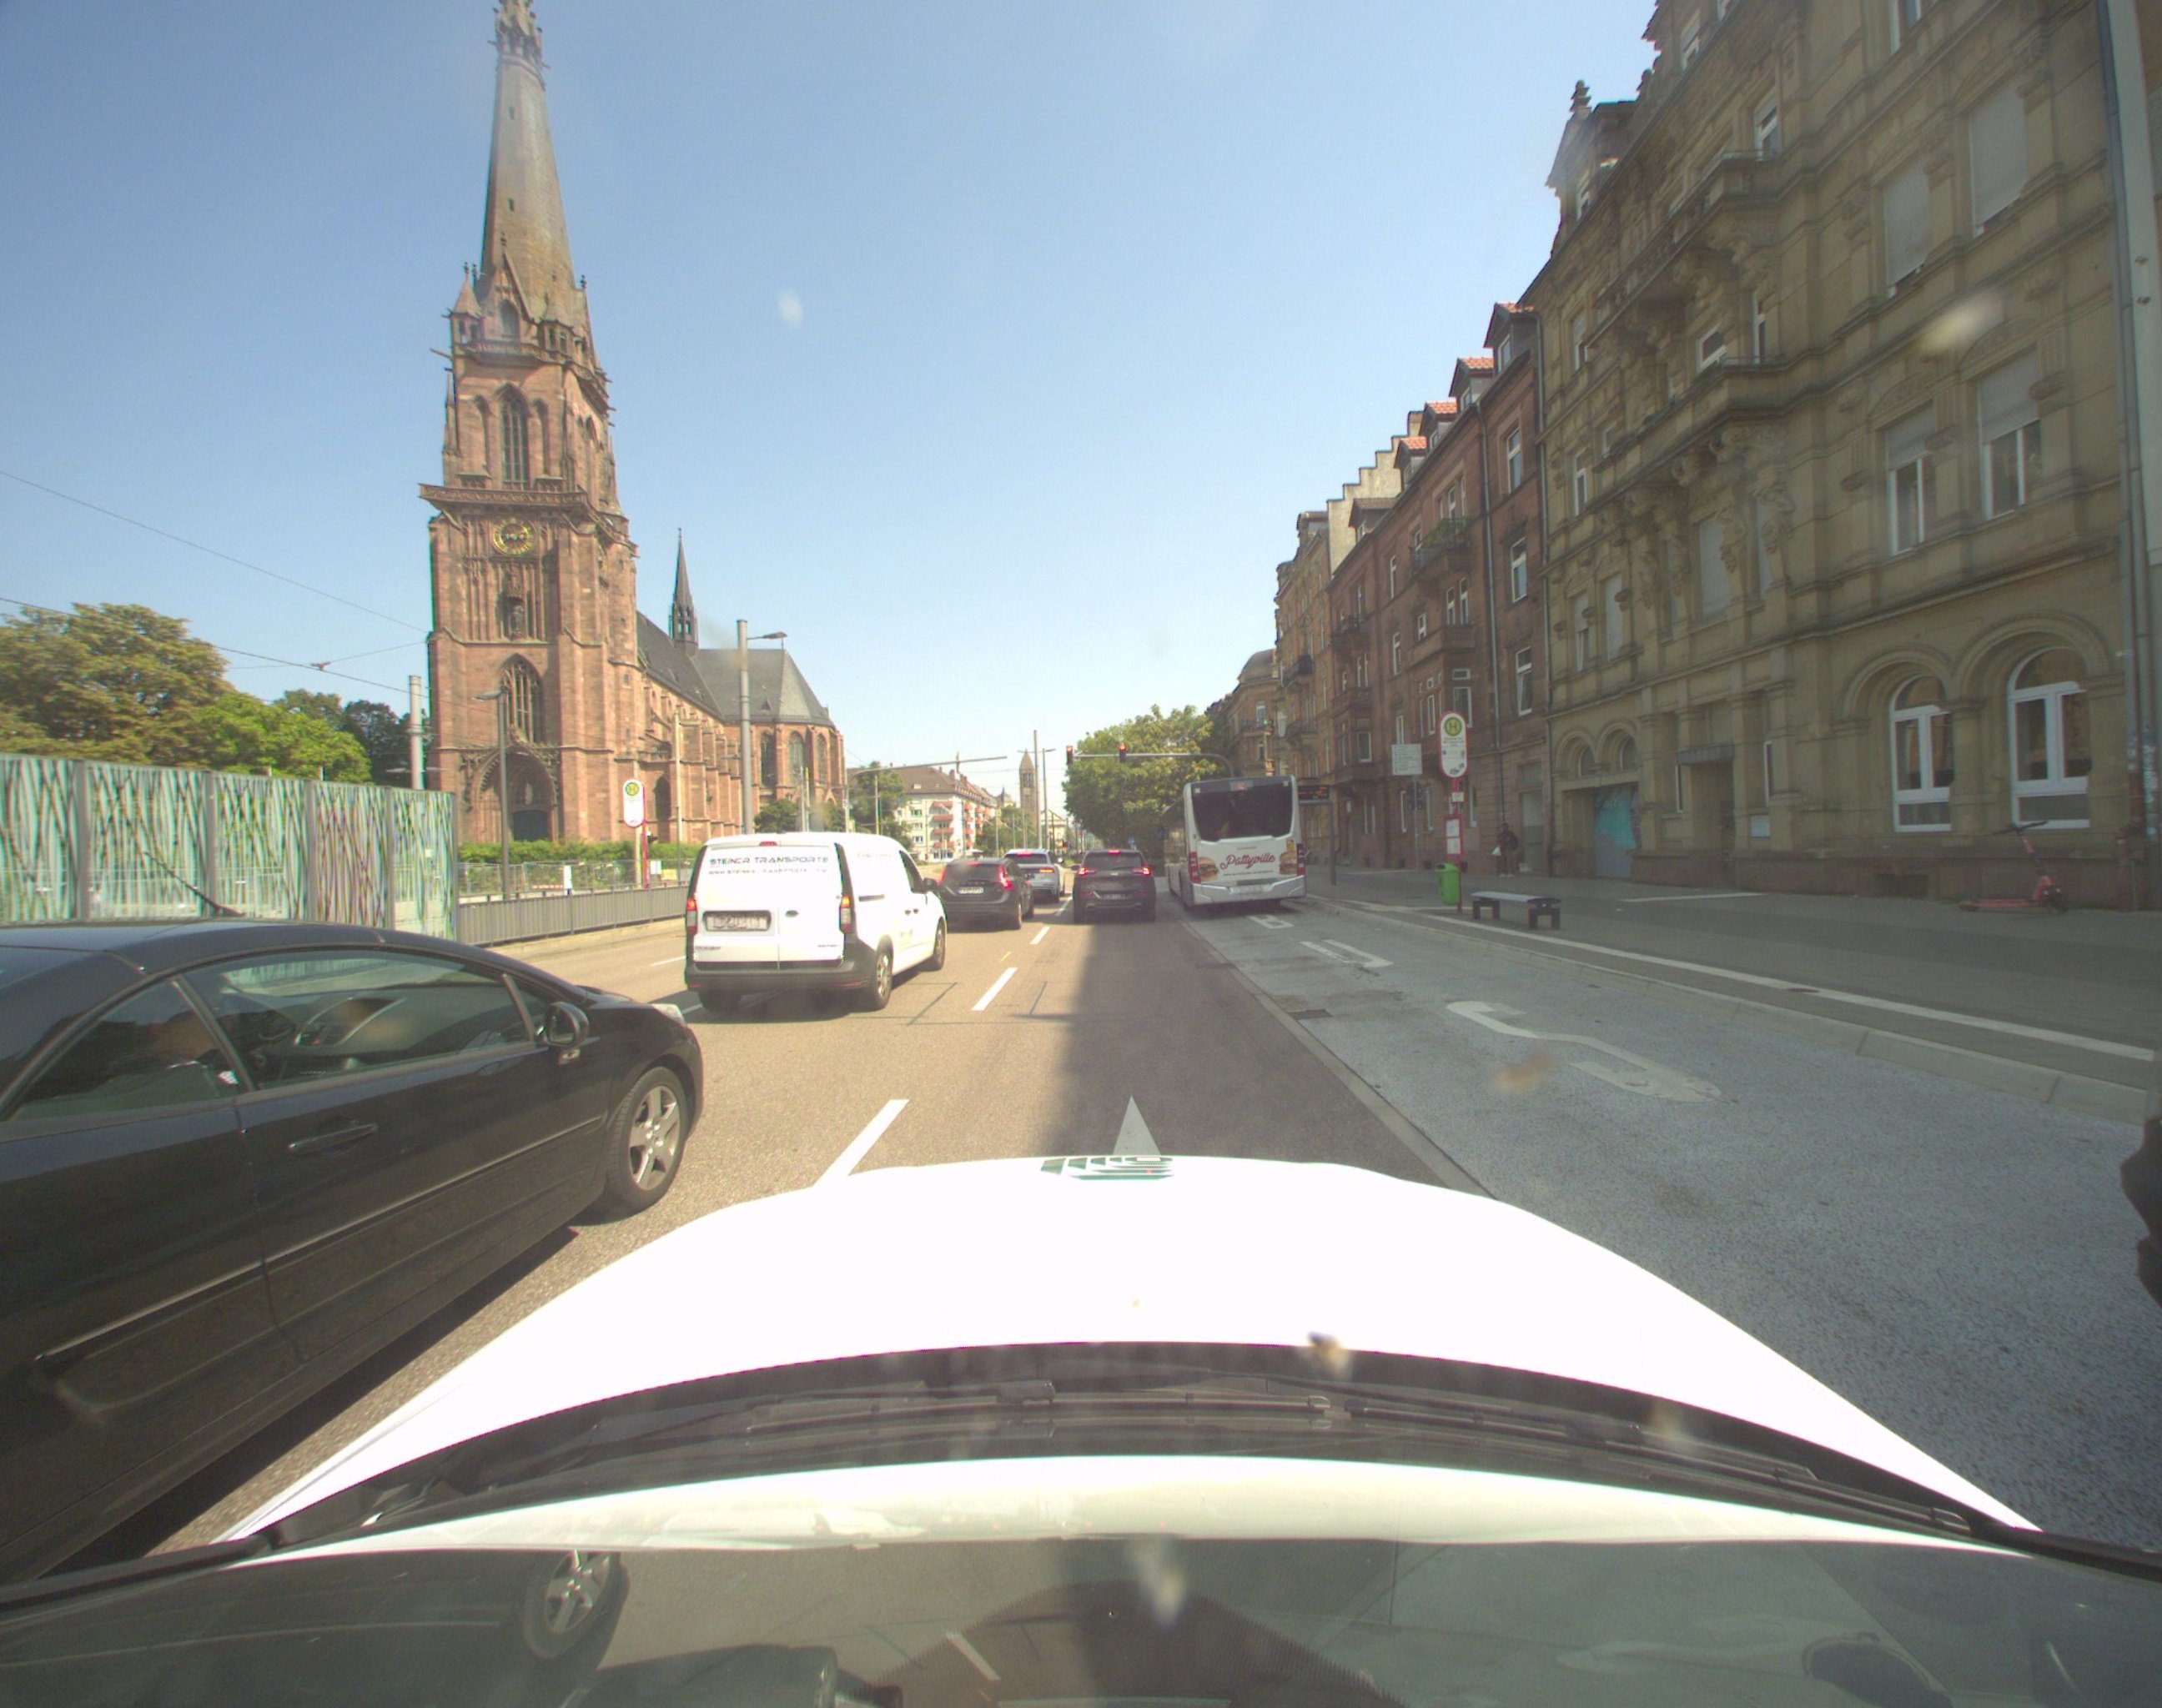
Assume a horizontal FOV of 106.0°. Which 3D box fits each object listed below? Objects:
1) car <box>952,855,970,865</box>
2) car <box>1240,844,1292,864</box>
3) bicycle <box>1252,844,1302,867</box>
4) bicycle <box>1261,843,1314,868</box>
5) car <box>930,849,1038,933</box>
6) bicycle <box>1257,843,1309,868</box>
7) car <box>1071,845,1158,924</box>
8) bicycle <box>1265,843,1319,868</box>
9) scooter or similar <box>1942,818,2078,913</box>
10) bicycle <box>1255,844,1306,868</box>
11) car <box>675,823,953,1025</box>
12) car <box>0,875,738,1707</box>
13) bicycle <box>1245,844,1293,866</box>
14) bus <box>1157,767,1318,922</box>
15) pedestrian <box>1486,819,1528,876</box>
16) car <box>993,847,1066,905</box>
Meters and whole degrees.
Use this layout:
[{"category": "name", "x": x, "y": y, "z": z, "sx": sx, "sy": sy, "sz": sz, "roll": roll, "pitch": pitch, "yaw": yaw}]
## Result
[{"category": "car", "x": -19.388, "y": 1.030, "z": 131.888, "sx": 1.738, "sy": 1.435, "sz": 4.579, "roll": -4, "pitch": 0, "yaw": 4}, {"category": "car", "x": 15.580, "y": 0.003, "z": 68.577, "sx": 3.927, "sy": 1.521, "sz": 1.679, "roll": -2, "pitch": 0, "yaw": -6}, {"category": "bicycle", "x": 12.710, "y": 0.081, "z": 52.846, "sx": 2.993, "sy": 1.373, "sz": 0.947, "roll": -2, "pitch": 0, "yaw": 0}, {"category": "bicycle", "x": 12.657, "y": 0.096, "z": 50.042, "sx": 2.983, "sy": 1.371, "sz": 0.871, "roll": -3, "pitch": 0, "yaw": 0}, {"category": "car", "x": -2.011, "y": 0.717, "z": 18.050, "sx": 1.741, "sy": 1.614, "sz": 4.310, "roll": -1, "pitch": 0, "yaw": 1}, {"category": "bicycle", "x": 12.640, "y": 0.095, "z": 50.955, "sx": 2.983, "sy": 1.371, "sz": 0.871, "roll": -3, "pitch": 0, "yaw": 0}, {"category": "car", "x": 0.811, "y": 0.634, "z": 19.418, "sx": 1.825, "sy": 1.651, "sz": 4.311, "roll": -1, "pitch": 0, "yaw": 2}, {"category": "bicycle", "x": 12.729, "y": 0.112, "z": 49.134, "sx": 2.983, "sy": 1.371, "sz": 0.871, "roll": -3, "pitch": 0, "yaw": 0}, {"category": "scooter or similar", "x": 12.642, "y": 0.142, "z": 11.124, "sx": 0.474, "sy": 1.212, "sz": 1.141, "roll": -2, "pitch": 0, "yaw": -3}, {"category": "bicycle", "x": 12.688, "y": 0.106, "z": 51.902, "sx": 2.983, "sy": 1.371, "sz": 0.871, "roll": -3, "pitch": 0, "yaw": 0}, {"category": "car", "x": -2.780, "y": 0.636, "z": 9.582, "sx": 1.741, "sy": 1.820, "sz": 4.241, "roll": -1, "pitch": 0, "yaw": 1}, {"category": "car", "x": -2.671, "y": 0.835, "z": 2.383, "sx": 1.682, "sy": 1.413, "sz": 3.801, "roll": -1, "pitch": 0, "yaw": 0}, {"category": "bicycle", "x": 12.687, "y": 0.072, "z": 54.952, "sx": 2.993, "sy": 1.373, "sz": 0.947, "roll": -2, "pitch": 0, "yaw": 0}, {"category": "bus", "x": 3.897, "y": -0.221, "z": 23.408, "sx": 2.732, "sy": 3.106, "sz": 11.965, "roll": -5, "pitch": 0, "yaw": 3}, {"category": "pedestrian", "x": 13.523, "y": -0.206, "z": 25.857, "sx": 0.872, "sy": 1.778, "sz": 0.737, "roll": -2, "pitch": 0, "yaw": -26}, {"category": "car", "x": -1.538, "y": 0.624, "z": 25.856, "sx": 1.895, "sy": 1.651, "sz": 4.310, "roll": -1, "pitch": 0, "yaw": 1}]
